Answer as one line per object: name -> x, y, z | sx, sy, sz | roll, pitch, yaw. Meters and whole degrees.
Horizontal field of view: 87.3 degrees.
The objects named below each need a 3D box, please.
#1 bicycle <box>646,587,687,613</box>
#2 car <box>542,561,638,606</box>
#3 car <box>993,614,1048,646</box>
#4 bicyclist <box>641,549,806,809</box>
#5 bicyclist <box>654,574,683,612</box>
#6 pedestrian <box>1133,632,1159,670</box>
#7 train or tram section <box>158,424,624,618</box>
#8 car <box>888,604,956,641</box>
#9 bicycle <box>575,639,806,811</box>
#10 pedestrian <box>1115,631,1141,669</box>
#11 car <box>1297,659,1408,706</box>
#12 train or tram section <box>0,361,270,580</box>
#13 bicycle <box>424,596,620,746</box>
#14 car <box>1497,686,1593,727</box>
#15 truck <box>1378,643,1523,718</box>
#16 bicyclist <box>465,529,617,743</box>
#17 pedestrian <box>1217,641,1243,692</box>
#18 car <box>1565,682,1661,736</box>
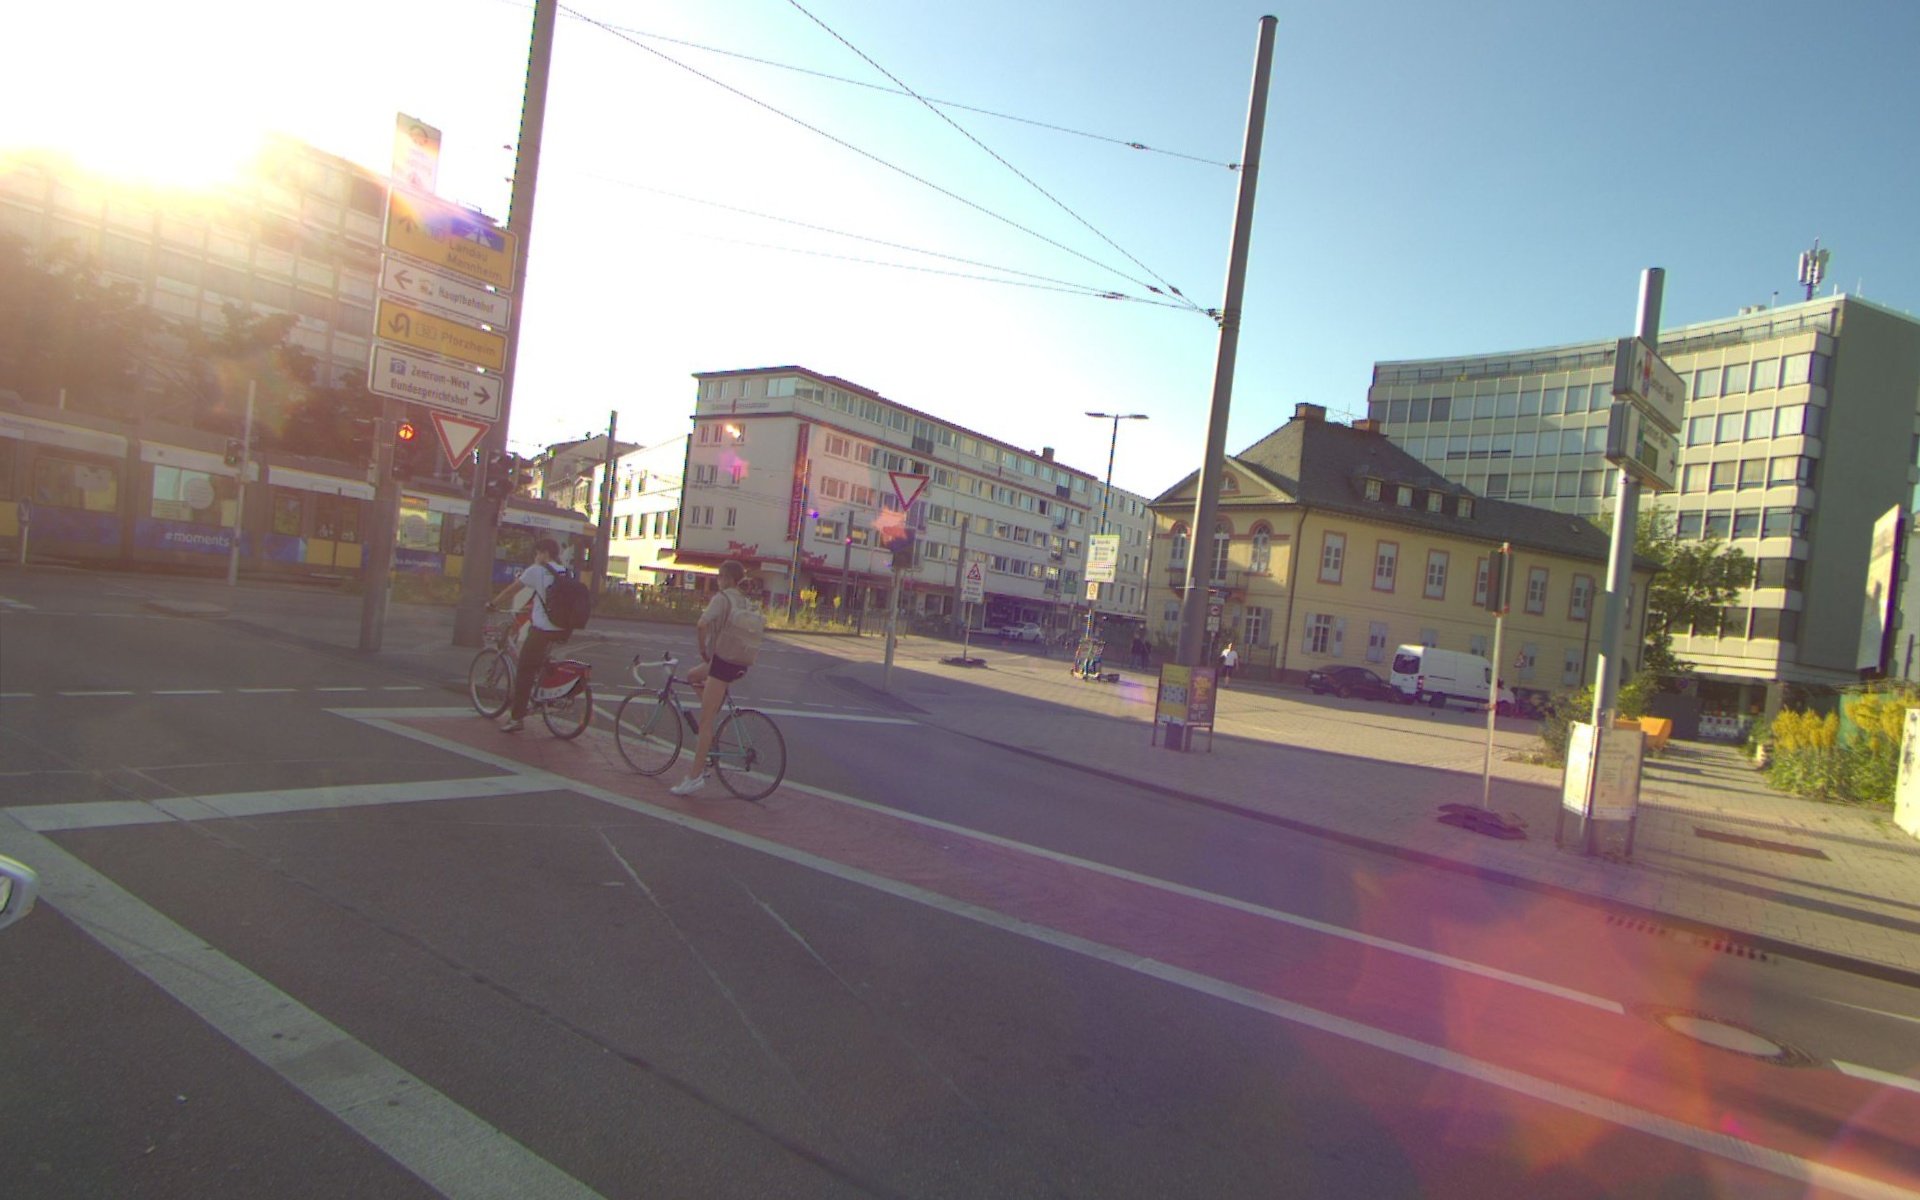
bicycle -> -15.914, -0.010, 54.485 | 0.990, 1.124, 2.614 | 9, -2, -42
car -> -18.442, -0.783, 50.375 | 1.963, 1.669, 4.457 | 7, -2, 20
car -> 5.032, 2.506, 83.387 | 1.970, 2.036, 4.858 | 6, -2, 38
bicyclist -> -1.750, 0.571, 7.480 | 0.778, 1.766, 0.615 | 7, -1, 27
bicyclist -> -15.758, -0.368, 54.353 | 0.990, 1.864, 0.865 | 8, -1, -42
pedestrian -> 8.572, 2.346, 46.375 | 0.804, 1.661, 0.685 | 7, -1, -11
train or tram section -> -16.916, -2.020, 32.017 | 3.649, 3.877, 12.982 | 7, -2, 24
car -> -2.665, 1.622, 71.636 | 1.970, 2.036, 4.858 | 6, -2, 38
bicycle -> -2.064, 0.915, 7.654 | 1.664, 1.013, 0.543 | 6, -1, 27
pedestrian -> 7.730, 2.295, 46.249 | 0.804, 1.661, 0.685 | 7, -1, -11
car -> 16.618, 3.481, 42.591 | 4.133, 1.380, 1.709 | 8, -2, -17
train or tram section -> -20.171, -2.817, 19.454 | 3.645, 3.880, 12.985 | 7, -1, 4
bicycle -> -4.039, 0.630, 9.247 | 1.777, 1.113, 0.543 | 6, -1, 27
car -> 27.089, 4.925, 46.589 | 3.706, 1.380, 1.709 | 8, -2, -17
truck -> 21.828, 3.575, 44.806 | 5.556, 2.578, 2.294 | 8, -2, -17
bicyclist -> -3.816, 0.316, 9.172 | 1.042, 1.789, 0.543 | 7, -1, 27
pedestrian -> 10.130, 2.508, 37.786 | 0.746, 1.783, 1.009 | 7, -1, 16
car -> 31.147, 5.204, 47.977 | 3.706, 2.003, 1.709 | 8, -2, -17
